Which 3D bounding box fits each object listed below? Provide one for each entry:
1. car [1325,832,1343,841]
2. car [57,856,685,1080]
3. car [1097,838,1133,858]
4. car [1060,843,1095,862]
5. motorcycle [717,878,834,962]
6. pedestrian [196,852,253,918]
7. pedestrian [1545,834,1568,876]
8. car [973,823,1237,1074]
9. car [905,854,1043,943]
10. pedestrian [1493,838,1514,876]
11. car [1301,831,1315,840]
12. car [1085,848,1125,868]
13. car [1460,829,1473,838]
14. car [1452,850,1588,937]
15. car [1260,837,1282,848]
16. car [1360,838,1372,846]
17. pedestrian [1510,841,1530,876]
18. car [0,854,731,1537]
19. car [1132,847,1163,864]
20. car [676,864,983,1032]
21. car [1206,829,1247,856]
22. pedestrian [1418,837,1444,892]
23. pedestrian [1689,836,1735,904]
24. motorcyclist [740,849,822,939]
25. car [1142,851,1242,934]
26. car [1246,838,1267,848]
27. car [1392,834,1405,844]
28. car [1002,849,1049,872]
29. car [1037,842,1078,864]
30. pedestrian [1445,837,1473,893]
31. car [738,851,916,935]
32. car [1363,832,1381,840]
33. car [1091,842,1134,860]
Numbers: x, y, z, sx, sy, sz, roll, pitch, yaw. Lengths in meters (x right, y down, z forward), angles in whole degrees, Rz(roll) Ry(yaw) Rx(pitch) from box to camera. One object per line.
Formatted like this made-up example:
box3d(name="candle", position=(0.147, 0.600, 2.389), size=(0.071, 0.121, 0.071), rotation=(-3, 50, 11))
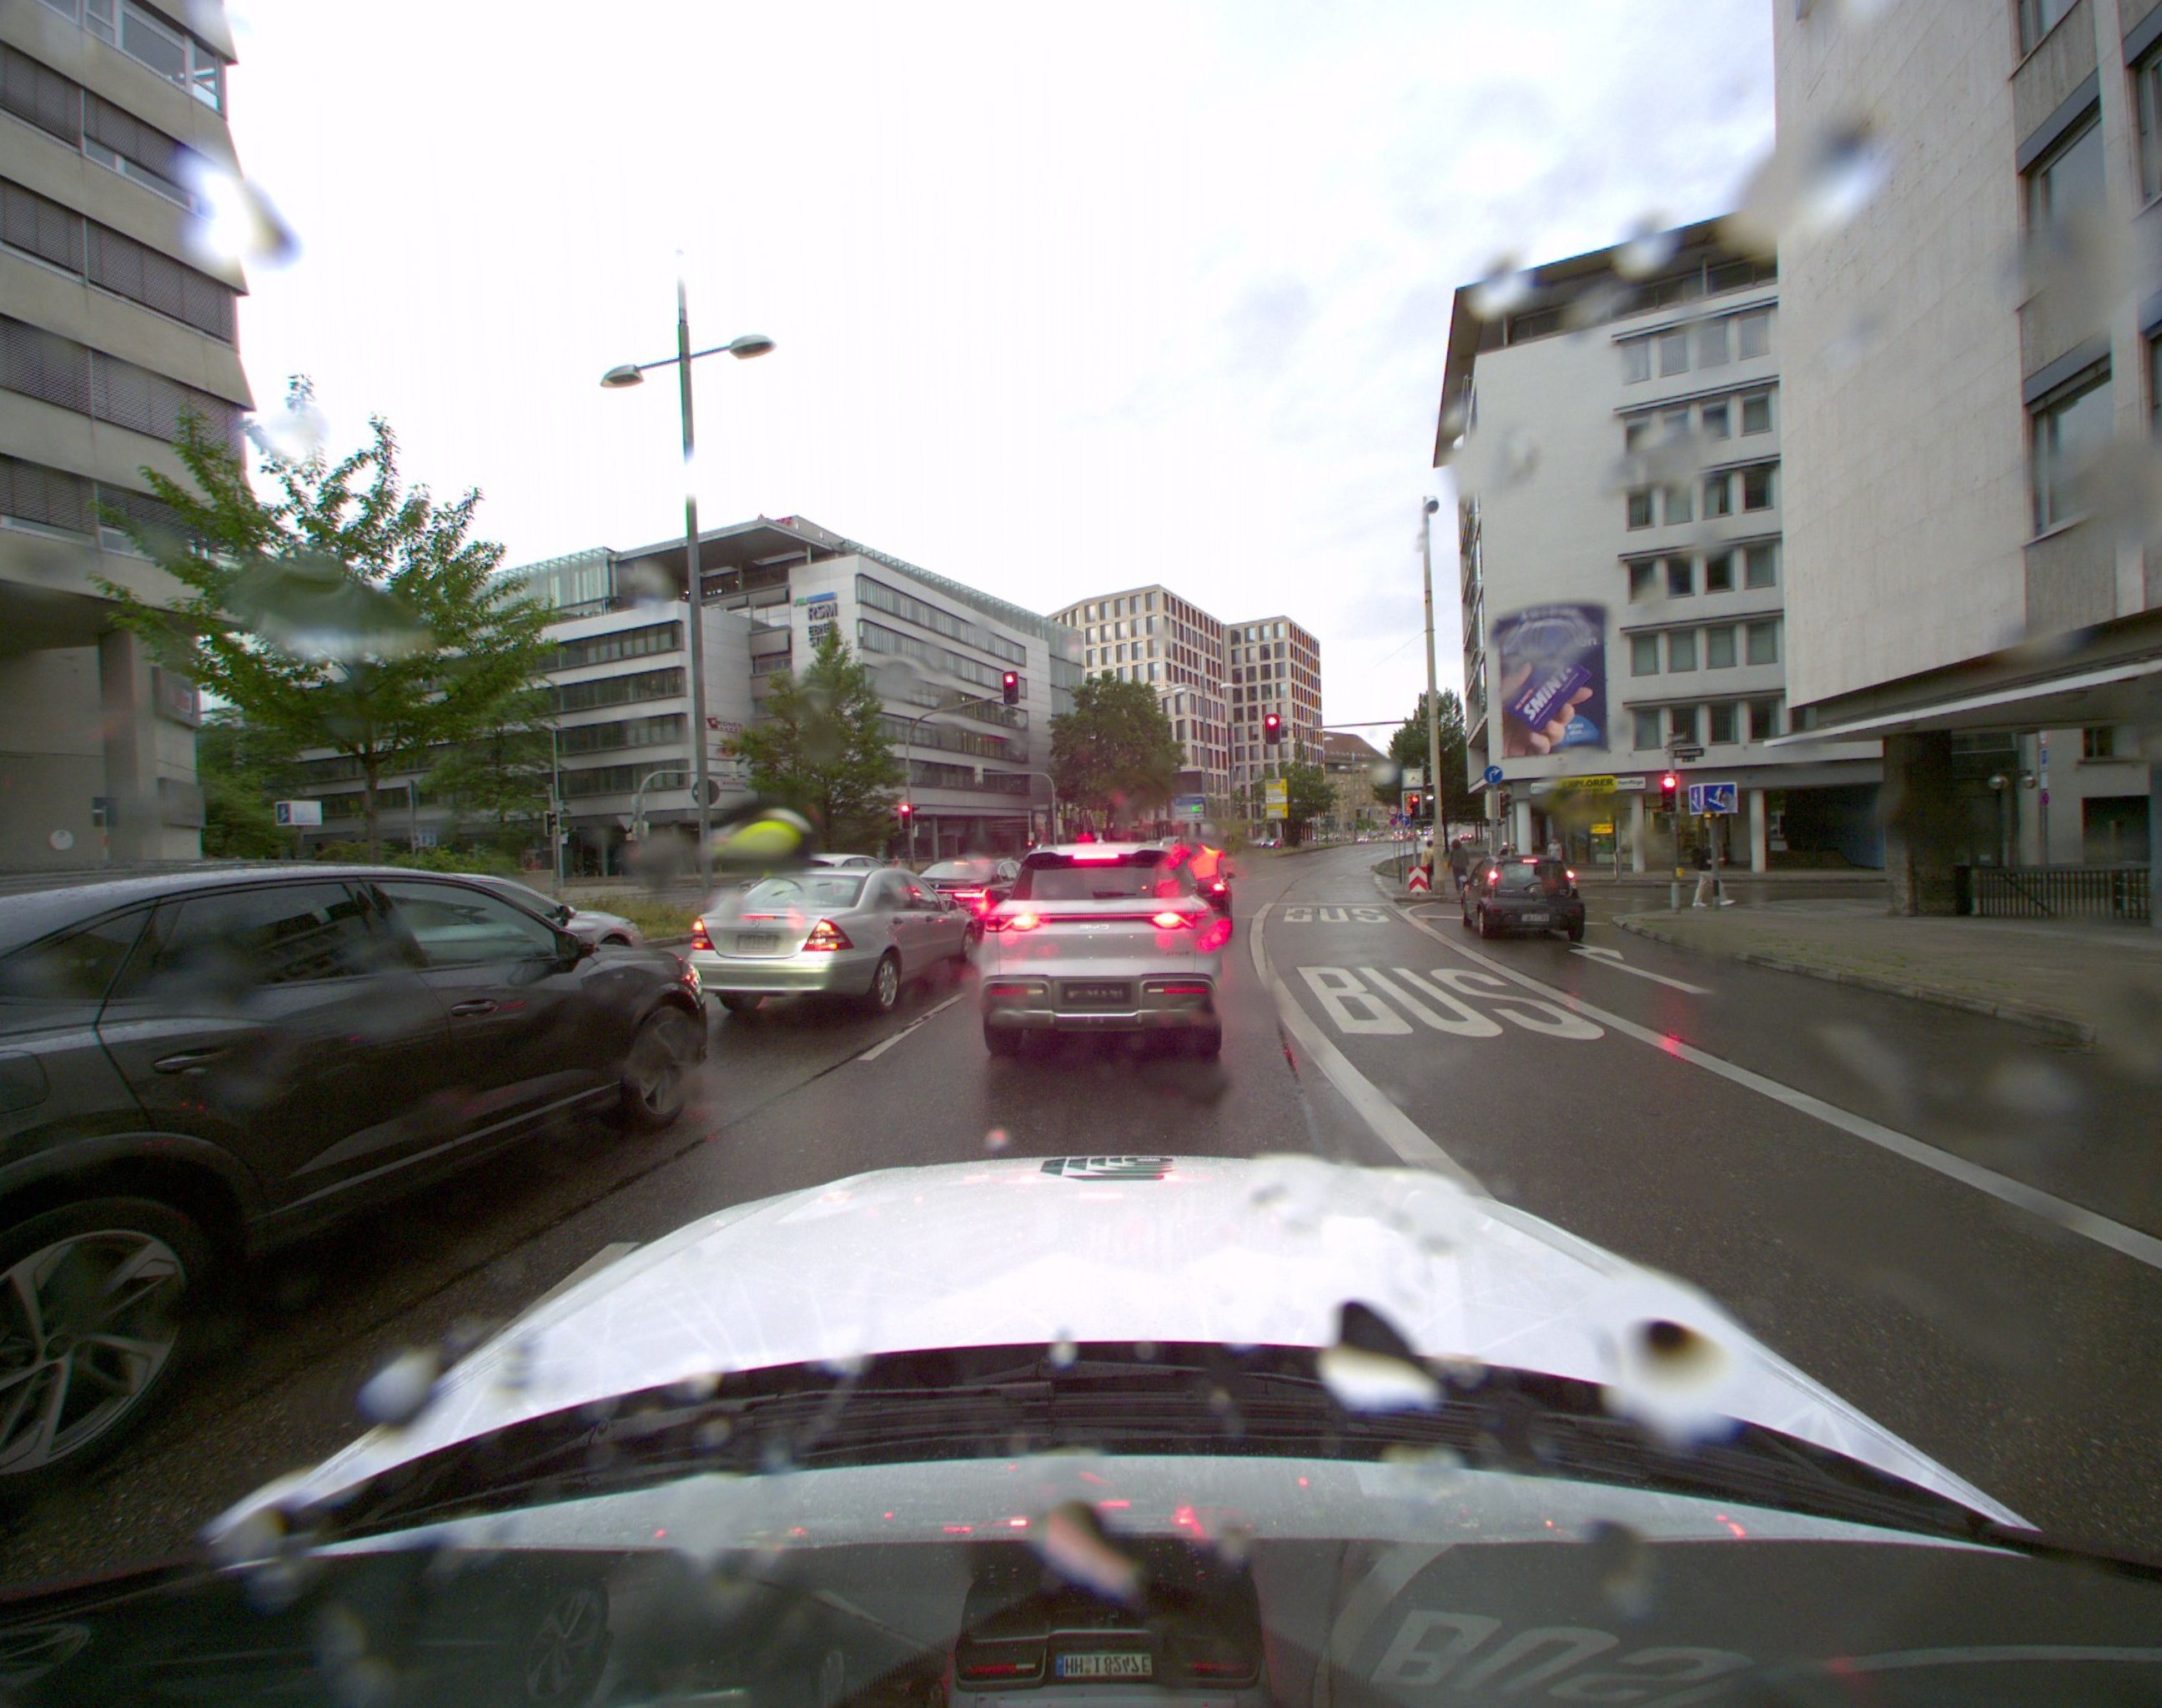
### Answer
box3d(name="car", position=(60.625, -4.235, 195.470), size=(3.952, 2.013, 2.011), rotation=(-1, 0, 22))
box3d(name="car", position=(-6.212, 0.812, 8.156), size=(1.857, 1.533, 4.782), rotation=(-1, 0, 4))
box3d(name="car", position=(2.906, -0.511, 68.193), size=(1.629, 1.581, 4.109), rotation=(-1, 0, 23))
box3d(name="car", position=(-0.257, -0.098, 69.449), size=(1.623, 1.571, 3.739), rotation=(-1, -1, 24))
box3d(name="motorcycle", position=(-4.822, 1.000, 13.033), size=(0.795, 1.185, 2.034), rotation=(-1, -1, 11))
box3d(name="pedestrian", position=(-22.376, 0.807, 21.278), size=(0.672, 1.683, 0.766), rotation=(-1, 0, 15))
box3d(name="pedestrian", position=(20.554, 0.041, 35.230), size=(0.778, 1.794, 0.662), rotation=(-1, 0, -45))
box3d(name="car", position=(0.295, 0.656, 7.505), size=(1.768, 1.679, 4.004), rotation=(-1, -1, 4))
box3d(name="car", position=(-1.905, 0.769, 15.761), size=(1.561, 1.486, 4.010), rotation=(-1, -1, 9))
box3d(name="pedestrian", position=(18.929, 0.139, 36.502), size=(0.657, 1.655, 0.662), rotation=(-1, 0, -45))
box3d(name="car", position=(45.305, -3.648, 162.629), size=(1.590, 1.741, 3.467), rotation=(-1, -1, 34))
box3d(name="car", position=(1.803, 0.286, 58.954), size=(1.675, 1.385, 3.888), rotation=(-1, -1, 21))
box3d(name="car", position=(70.606, -3.717, 148.962), size=(1.677, 1.486, 4.025), rotation=(-1, -1, 32))
box3d(name="car", position=(8.175, 0.666, 15.483), size=(1.558, 1.429, 4.018), rotation=(-1, -1, 18))
box3d(name="car", position=(27.593, -1.630, 118.290), size=(1.974, 1.488, 4.025), rotation=(-1, 1, 29))
box3d(name="car", position=(53.278, -2.264, 152.344), size=(1.616, 1.437, 3.931), rotation=(-1, 1, 25))
box3d(name="pedestrian", position=(19.430, 0.181, 36.026), size=(0.657, 1.543, 0.618), rotation=(-1, 0, -45))
box3d(name="car", position=(-3.213, 0.781, 3.237), size=(1.642, 1.521, 4.274), rotation=(-1, 0, 2))
box3d(name="car", position=(6.780, 0.137, 82.490), size=(1.616, 1.559, 4.620), rotation=(-1, 1, 25))
box3d(name="car", position=(-2.444, 0.831, 9.085), size=(1.561, 1.407, 4.120), rotation=(-1, -1, 10))
box3d(name="car", position=(11.629, -0.882, 64.751), size=(1.975, 2.014, 4.876), rotation=(-1, -1, 25))
box3d(name="pedestrian", position=(11.618, 0.344, 27.069), size=(0.742, 1.798, 0.821), rotation=(-1, 1, 22))
box3d(name="pedestrian", position=(16.461, 0.408, 21.257), size=(0.764, 1.731, 0.599), rotation=(-1, 0, 16))
box3d(name="motorcyclist", position=(-4.803, 0.615, 13.086), size=(0.765, 1.380, 1.121), rotation=(-1, -1, 10))
box3d(name="car", position=(2.385, 0.709, 16.711), size=(1.682, 1.486, 4.013), rotation=(-1, -1, 12))
box3d(name="car", position=(26.390, -1.677, 122.637), size=(1.974, 1.488, 4.025), rotation=(-1, 1, 29))
box3d(name="car", position=(57.135, -2.712, 146.471), size=(1.871, 1.643, 4.023), rotation=(-1, 0, 24))
box3d(name="car", position=(-4.179, 0.477, 62.151), size=(1.976, 1.610, 4.022), rotation=(-1, 0, 22))
box3d(name="car", position=(-1.702, -0.111, 59.598), size=(1.630, 1.536, 4.172), rotation=(-1, 0, 18))
box3d(name="pedestrian", position=(12.306, 0.346, 26.523), size=(0.742, 1.798, 0.821), rotation=(-1, 1, 22))
box3d(name="car", position=(-4.952, 0.705, 16.527), size=(1.696, 1.486, 4.013), rotation=(-1, -1, 11))
box3d(name="car", position=(69.554, -4.314, 194.890), size=(3.952, 2.013, 2.011), rotation=(-1, 0, 22))
box3d(name="car", position=(2.970, -0.274, 75.487), size=(1.796, 1.510, 5.228), rotation=(-1, 1, 29))
